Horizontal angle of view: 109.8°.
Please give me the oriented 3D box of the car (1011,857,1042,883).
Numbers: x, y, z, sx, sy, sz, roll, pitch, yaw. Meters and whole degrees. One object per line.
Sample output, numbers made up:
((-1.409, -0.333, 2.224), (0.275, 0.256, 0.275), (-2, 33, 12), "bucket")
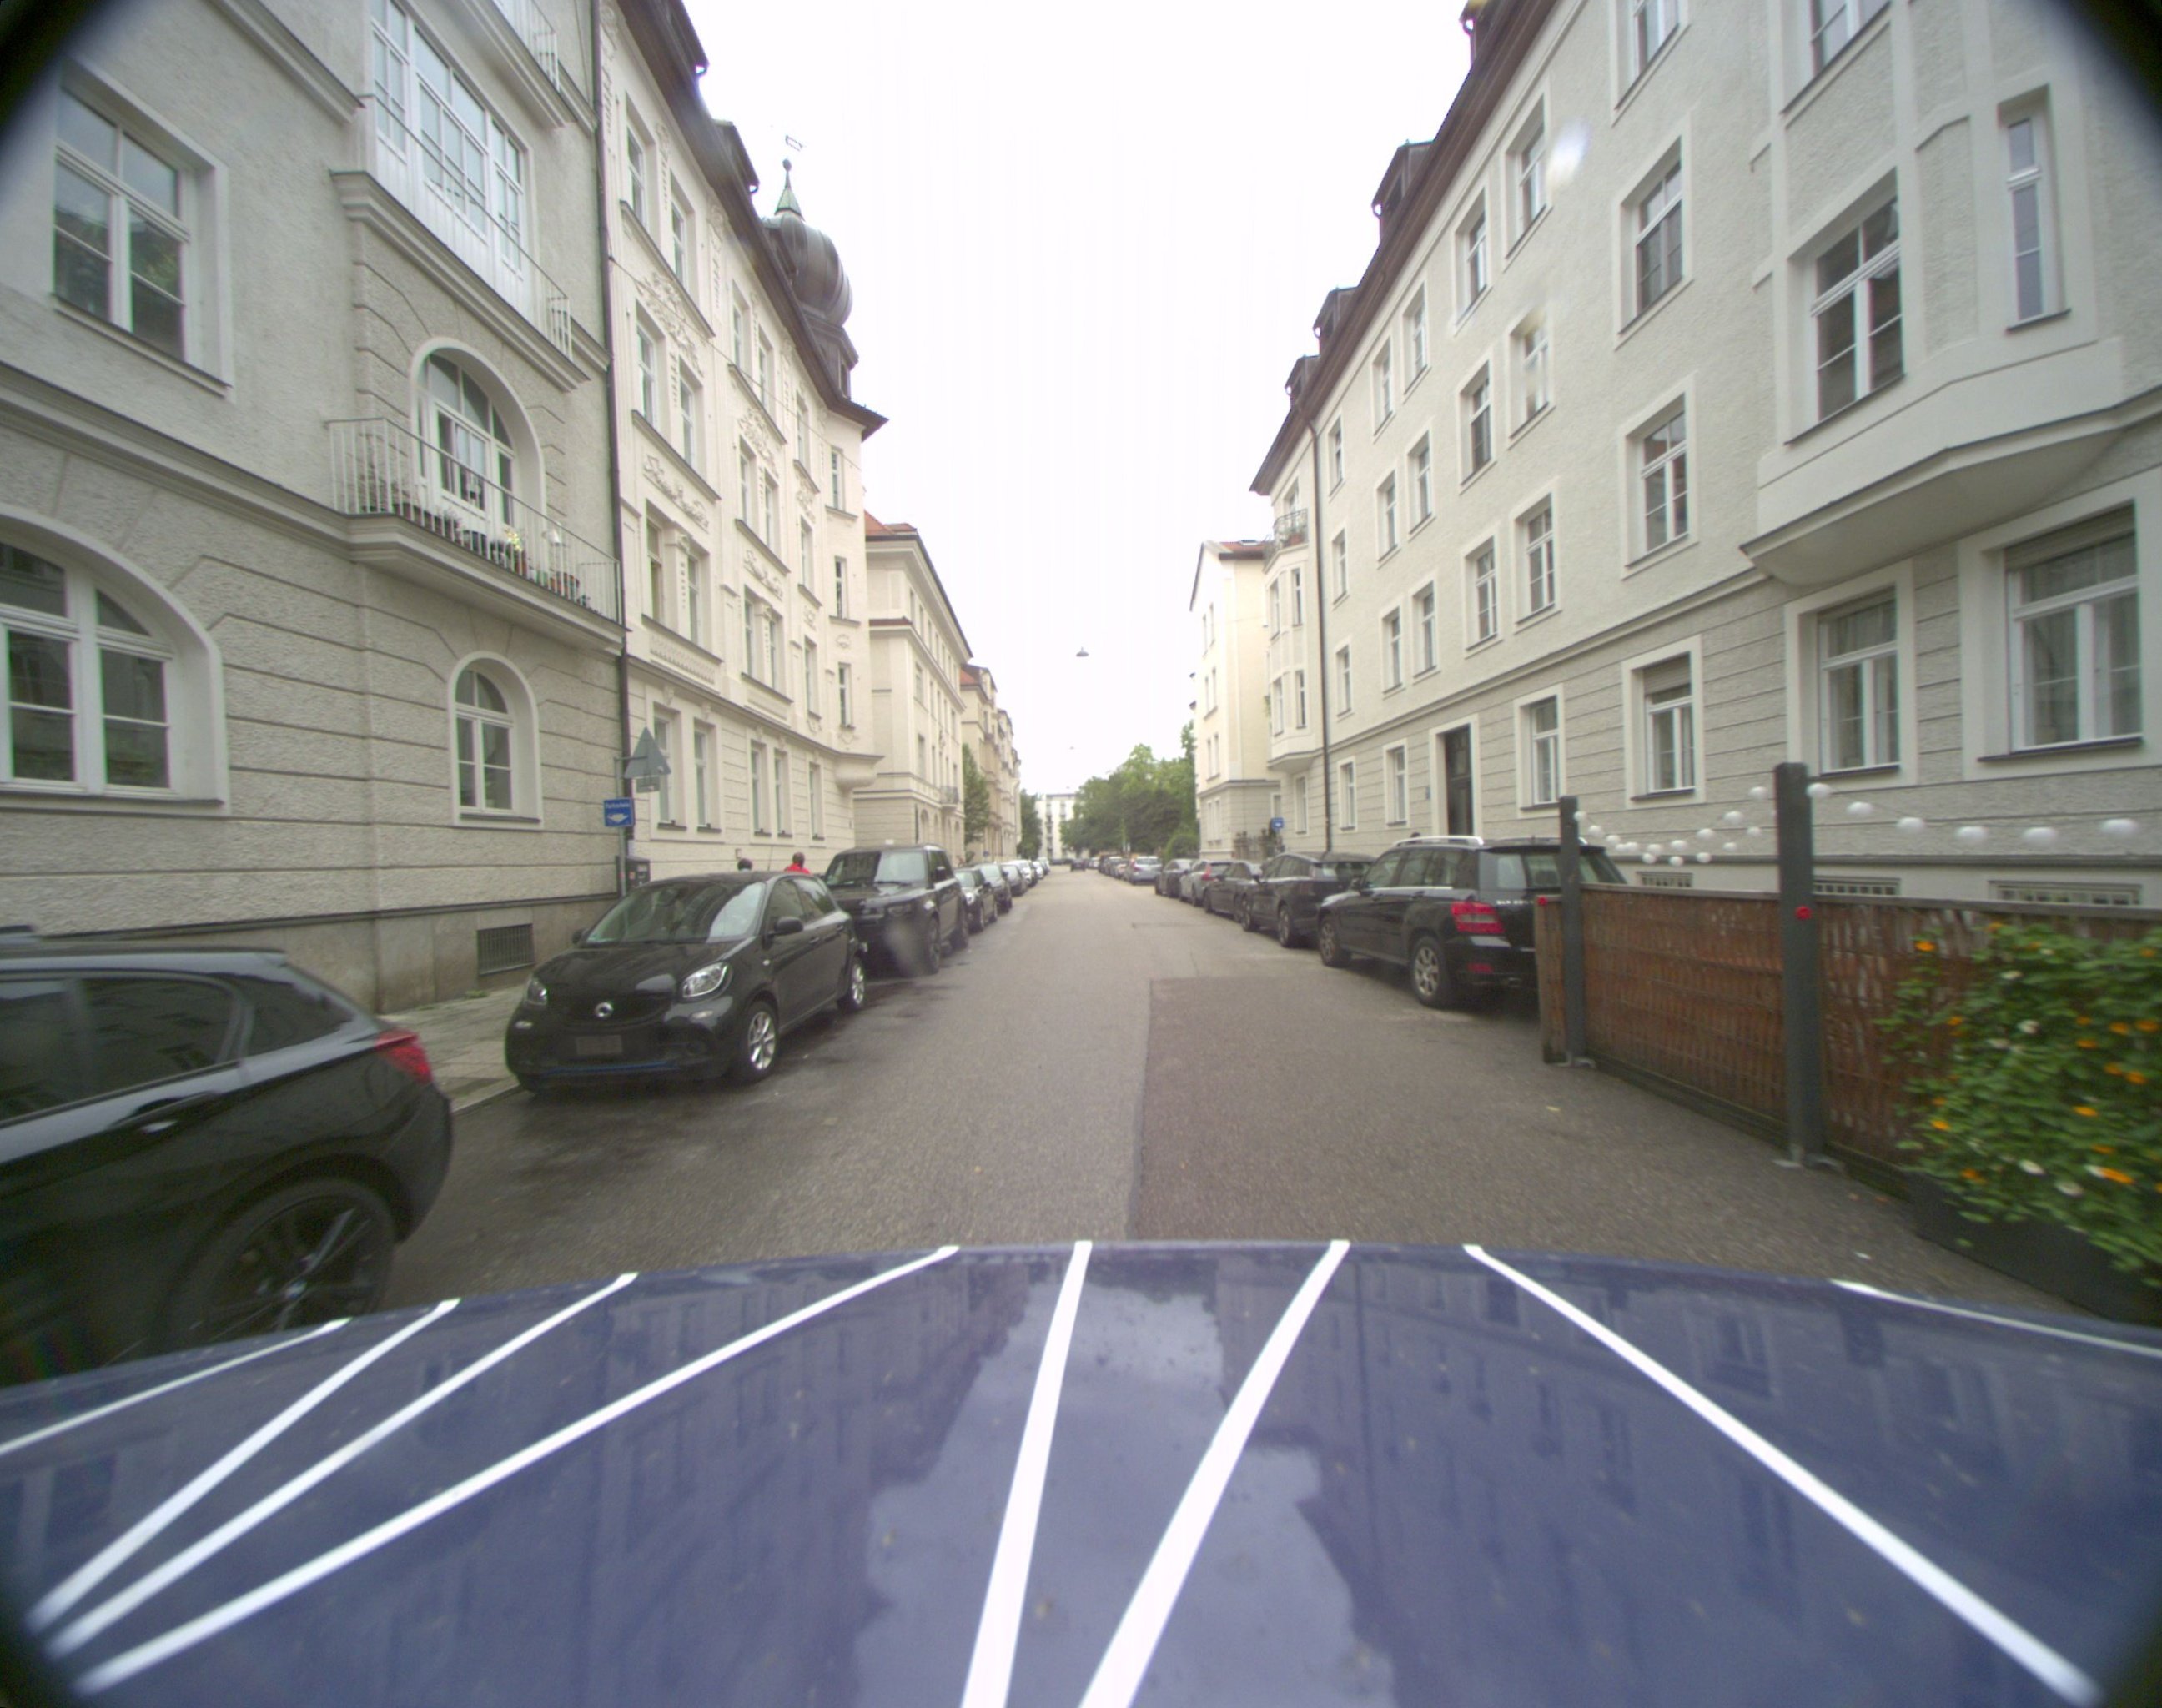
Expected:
((-3.554, 1.009, 50.134), (1.753, 1.516, 4.169), (-3, 0, -1), "car")

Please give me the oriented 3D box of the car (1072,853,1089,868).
((-0.097, 0.753, 90.661), (1.729, 1.525, 4.084), (-4, 1, -3), "car")

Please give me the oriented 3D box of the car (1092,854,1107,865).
((2.555, 0.721, 103.721), (1.705, 1.483, 3.955), (-1, 0, -3), "car")

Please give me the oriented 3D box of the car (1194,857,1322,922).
((4.210, 0.788, 18.853), (1.816, 1.377, 4.441), (-1, 0, -5), "car")

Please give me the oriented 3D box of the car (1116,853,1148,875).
((3.568, 0.671, 53.931), (1.802, 1.426, 4.079), (-2, 0, -1), "car")

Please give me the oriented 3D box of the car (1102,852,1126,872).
((3.054, 0.734, 71.347), (1.811, 1.638, 4.484), (-5, 0, -2), "car")

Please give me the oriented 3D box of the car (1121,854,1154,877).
((3.601, 0.721, 48.943), (1.649, 1.395, 3.998), (0, 0, -3), "car")

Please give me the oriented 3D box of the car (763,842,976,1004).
((-2.967, 0.855, 11.854), (1.916, 1.874, 4.713), (-5, 0, -1), "car")

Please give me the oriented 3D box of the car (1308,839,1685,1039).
((4.126, 0.723, 8.501), (1.751, 1.663, 4.274), (1, 0, -2), "car")

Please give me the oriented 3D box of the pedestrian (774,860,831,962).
((-4.838, 0.973, 13.239), (0.705, 1.718, 0.703), (-1, 1, -3), "pedestrian")

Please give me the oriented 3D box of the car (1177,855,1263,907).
((4.211, 0.775, 23.756), (1.799, 1.411, 4.509), (0, 0, -1), "car")

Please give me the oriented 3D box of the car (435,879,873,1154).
((-3.143, 1.065, 6.534), (1.659, 1.516, 3.636), (-3, 0, 0), "car")

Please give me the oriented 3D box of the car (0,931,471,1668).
((-3.243, 1.050, 0.747), (1.710, 1.462, 4.201), (-2, 0, 3), "car")

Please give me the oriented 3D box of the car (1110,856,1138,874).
((3.448, 0.842, 61.000), (1.740, 1.357, 4.191), (-1, 0, -4), "car")

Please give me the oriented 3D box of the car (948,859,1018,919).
((-2.933, 0.991, 23.490), (1.712, 1.578, 3.999), (-4, 0, -3), "car")

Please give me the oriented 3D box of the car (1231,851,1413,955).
((4.001, 0.728, 13.386), (1.746, 1.478, 4.180), (-2, 0, -1), "car")

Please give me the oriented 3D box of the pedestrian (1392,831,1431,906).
((7.723, 0.328, 17.751), (0.663, 1.697, 0.701), (-2, 1, 32), "pedestrian")

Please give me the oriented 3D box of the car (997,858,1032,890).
((-3.492, 1.035, 40.370), (1.713, 1.492, 3.998), (-3, 0, -4), "car")

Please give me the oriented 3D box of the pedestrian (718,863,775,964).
((-5.645, 0.980, 12.848), (0.681, 1.664, 0.654), (0, 0, -3), "pedestrian")

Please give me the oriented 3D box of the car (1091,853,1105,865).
((2.471, 0.699, 108.958), (1.705, 1.552, 3.929), (-1, 0, -3), "car")

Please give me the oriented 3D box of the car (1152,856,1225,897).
((4.027, 0.801, 29.202), (1.855, 1.359, 4.700), (-2, 0, -3), "car")

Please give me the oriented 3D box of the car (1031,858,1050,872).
((-4.262, 1.151, 80.329), (1.646, 1.409, 3.999), (-3, 0, 0), "car")

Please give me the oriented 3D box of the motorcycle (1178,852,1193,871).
((7.367, 0.541, 53.711), (0.706, 1.242, 1.820), (-4, 1, -2), "motorcycle")

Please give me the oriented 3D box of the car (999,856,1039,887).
((-3.571, 1.008, 44.662), (1.900, 1.626, 4.391), (-2, -1, 0), "car")

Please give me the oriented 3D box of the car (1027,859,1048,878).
((-3.774, 1.217, 65.606), (1.667, 1.498, 4.063), (-3, -1, -3), "car")

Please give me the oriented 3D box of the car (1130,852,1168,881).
((3.777, 0.697, 42.808), (1.701, 1.571, 4.061), (0, 0, -1), "car")

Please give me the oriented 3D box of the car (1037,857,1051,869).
((-4.960, 1.157, 101.160), (1.715, 1.462, 4.084), (-4, 0, -4), "car")

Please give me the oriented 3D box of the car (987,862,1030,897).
((-3.259, 1.126, 34.869), (1.616, 1.387, 3.999), (-4, 0, -2), "car")

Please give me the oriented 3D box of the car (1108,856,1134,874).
((3.415, 0.906, 65.961), (1.773, 1.412, 3.998), (-2, 1, -4), "car")

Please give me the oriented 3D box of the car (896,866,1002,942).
((-2.926, 1.076, 17.575), (1.668, 1.387, 3.582), (-4, 0, 1), "car")
